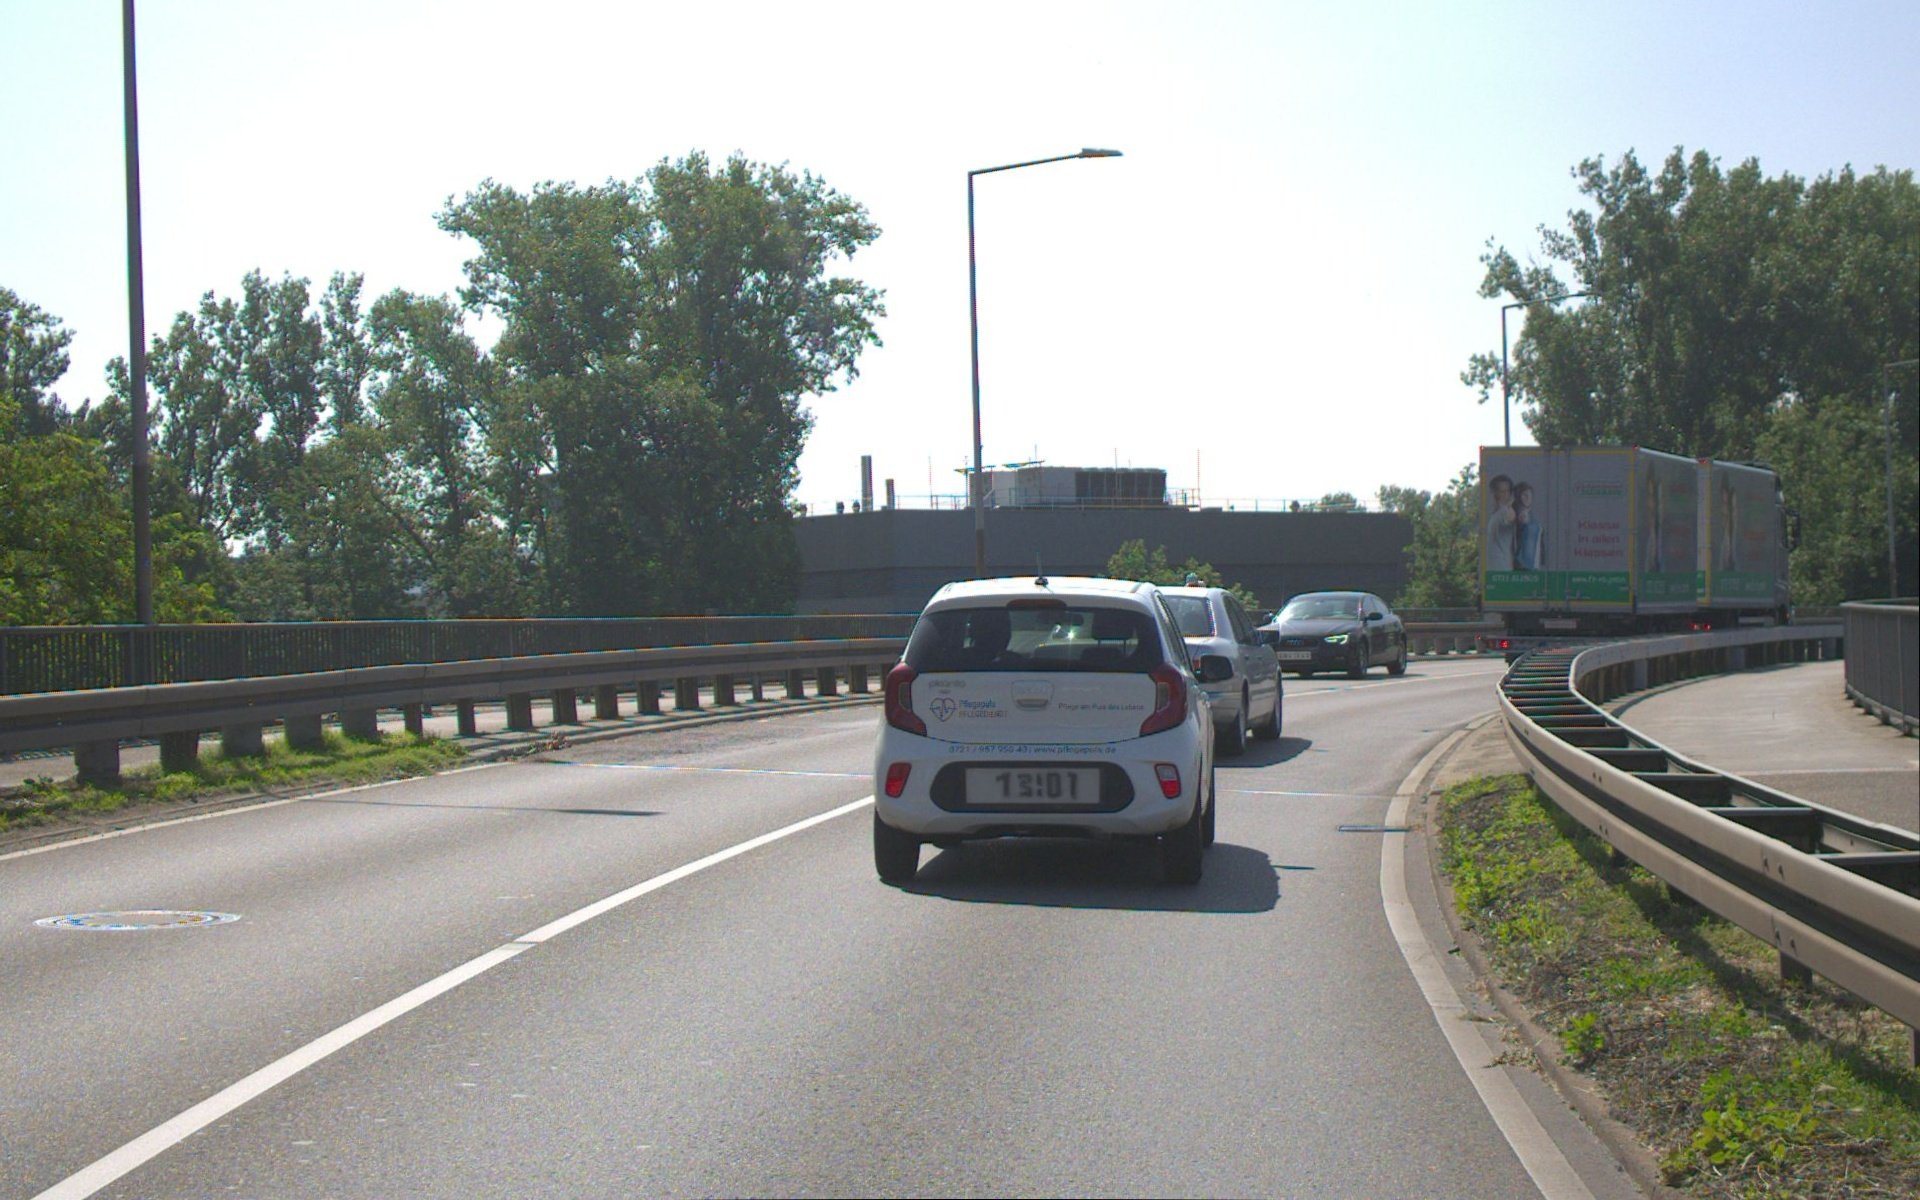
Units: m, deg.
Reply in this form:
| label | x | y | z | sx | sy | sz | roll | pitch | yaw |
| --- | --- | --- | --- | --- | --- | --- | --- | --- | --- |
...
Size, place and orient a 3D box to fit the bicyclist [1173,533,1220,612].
| label | x | y | z | sx | sy | sz | roll | pitch | yaw |
| --- | --- | --- | --- | --- | --- | --- | --- | --- | --- |
| bicyclist | 4.438 | -0.505 | 64.468 | 0.608 | 1.434 | 1.077 | -2 | -1 | 18 |

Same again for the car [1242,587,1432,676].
| label | x | y | z | sx | sy | sz | roll | pitch | yaw |
| --- | --- | --- | --- | --- | --- | --- | --- | --- | --- |
| car | 6.272 | 0.486 | 56.731 | 1.959 | 1.375 | 4.297 | 0 | 1 | 23 |

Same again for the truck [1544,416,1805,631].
| label | x | y | z | sx | sy | sz | roll | pitch | yaw |
| --- | --- | --- | --- | --- | --- | --- | --- | --- | --- |
| truck | 13.637 | -1.476 | 65.034 | 3.264 | 3.745 | 8.361 | 2 | 2 | 22 |

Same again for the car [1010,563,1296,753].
| label | x | y | z | sx | sy | sz | roll | pitch | yaw |
| --- | --- | --- | --- | --- | --- | --- | --- | --- | --- |
| car | 1.771 | 0.444 | 29.852 | 1.940 | 1.481 | 4.898 | 1 | 1 | 9 |

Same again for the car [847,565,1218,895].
| label | x | y | z | sx | sy | sz | roll | pitch | yaw |
| --- | --- | --- | --- | --- | --- | --- | --- | --- | --- |
| car | 0.488 | 0.588 | 18.147 | 1.702 | 1.489 | 3.999 | 2 | 1 | 4 |

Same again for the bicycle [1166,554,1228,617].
| label | x | y | z | sx | sy | sz | roll | pitch | yaw |
| --- | --- | --- | --- | --- | --- | --- | --- | --- | --- |
| bicycle | 4.463 | -0.265 | 64.532 | 0.612 | 1.131 | 2.147 | -3 | -2 | 18 |

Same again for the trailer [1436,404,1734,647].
| label | x | y | z | sx | sy | sz | roll | pitch | yaw |
| --- | --- | --- | --- | --- | --- | --- | --- | --- | --- |
| trailer | 10.618 | -1.285 | 57.738 | 3.228 | 3.745 | 7.816 | 2 | 2 | 23 |
